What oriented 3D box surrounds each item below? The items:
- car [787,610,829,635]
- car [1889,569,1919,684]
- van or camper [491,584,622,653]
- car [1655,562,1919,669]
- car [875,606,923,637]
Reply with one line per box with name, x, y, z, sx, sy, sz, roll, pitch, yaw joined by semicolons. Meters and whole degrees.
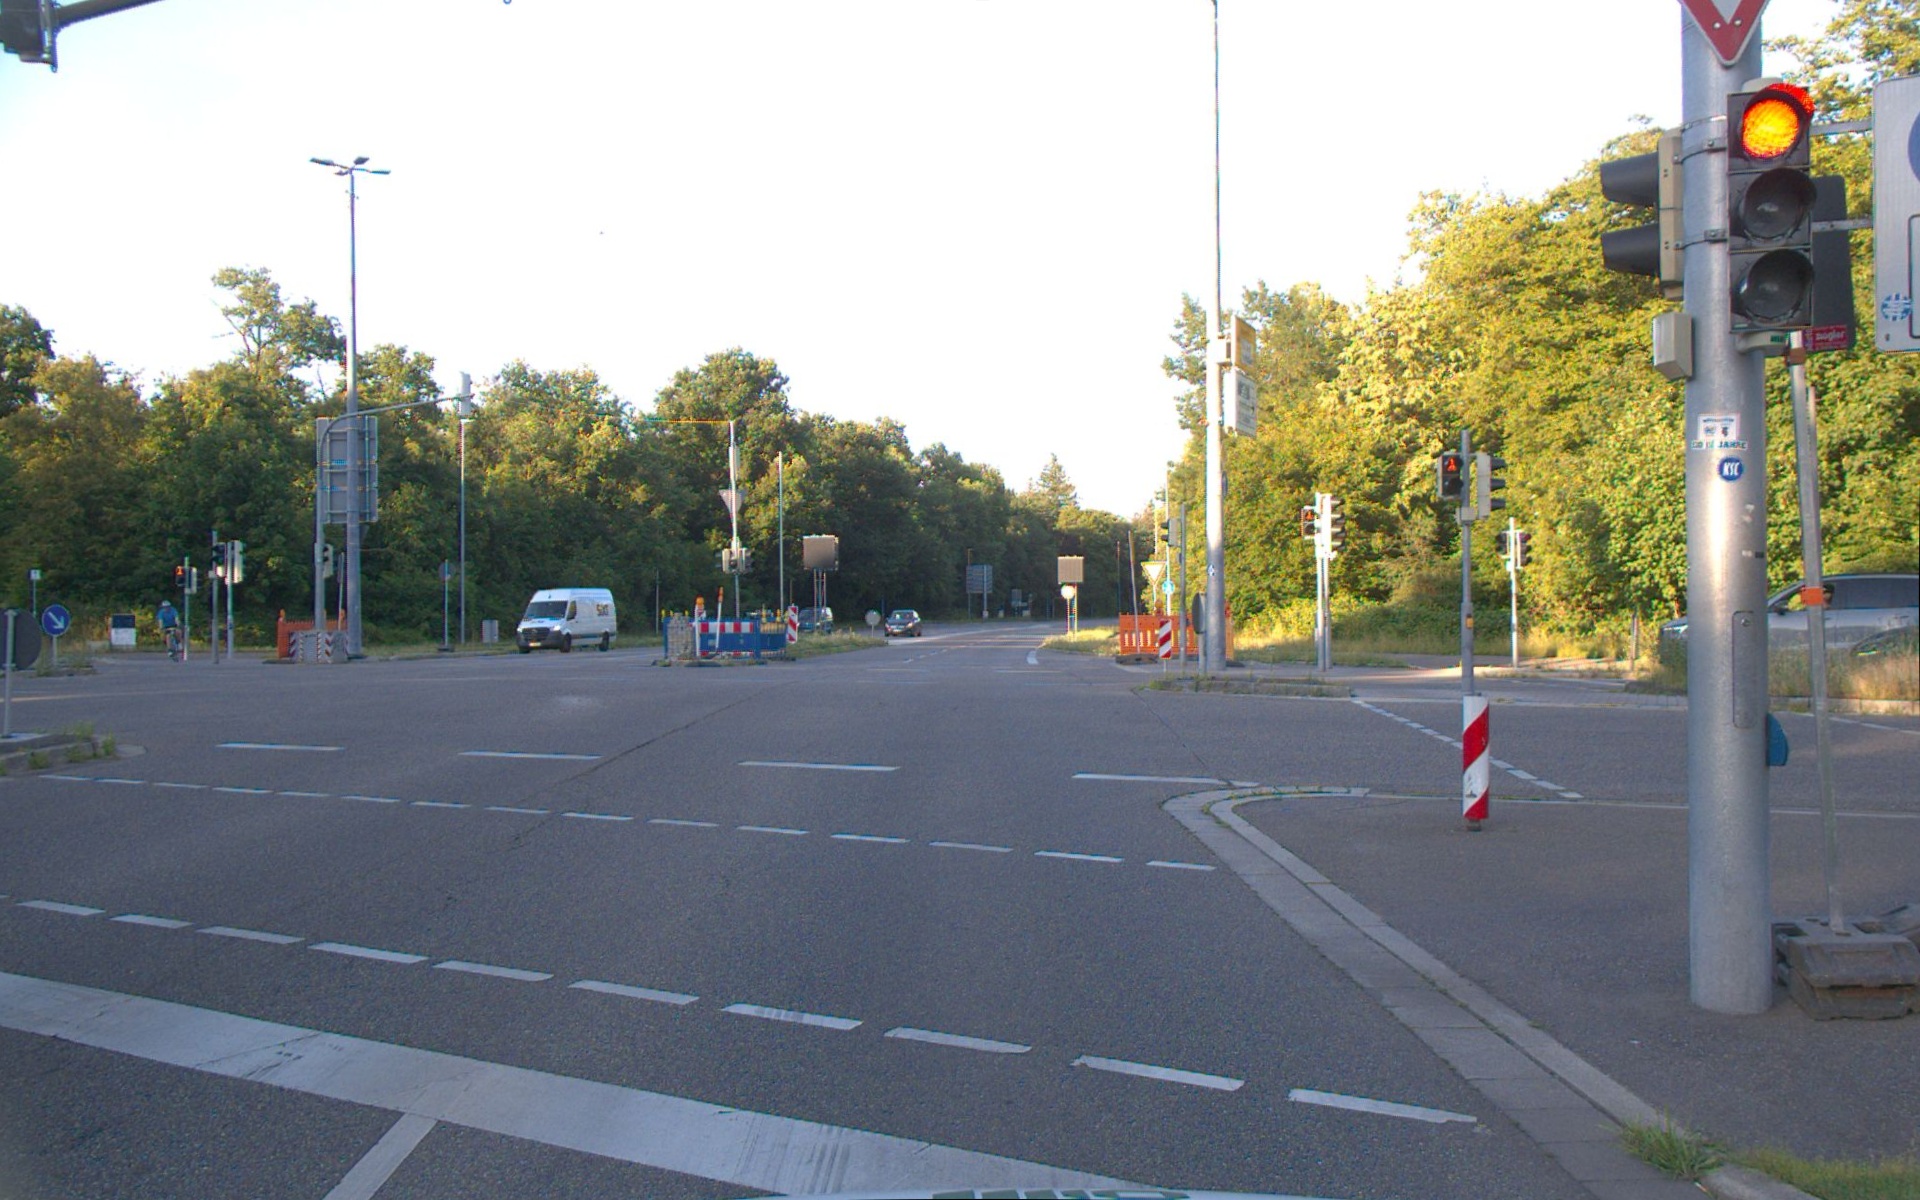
car;-10.690;1.554;116.654;1.951;1.668;4.003;0;0;10
car;14.723;0.336;22.117;3.783;1.515;1.771;0;0;22
van or camper;-16.628;0.732;68.712;2.823;2.699;7.128;0;0;8
car;13.746;0.242;26.500;4.716;1.626;2.000;-1;0;21
car;-3.598;1.255;98.680;1.951;1.668;4.004;-2;1;11
